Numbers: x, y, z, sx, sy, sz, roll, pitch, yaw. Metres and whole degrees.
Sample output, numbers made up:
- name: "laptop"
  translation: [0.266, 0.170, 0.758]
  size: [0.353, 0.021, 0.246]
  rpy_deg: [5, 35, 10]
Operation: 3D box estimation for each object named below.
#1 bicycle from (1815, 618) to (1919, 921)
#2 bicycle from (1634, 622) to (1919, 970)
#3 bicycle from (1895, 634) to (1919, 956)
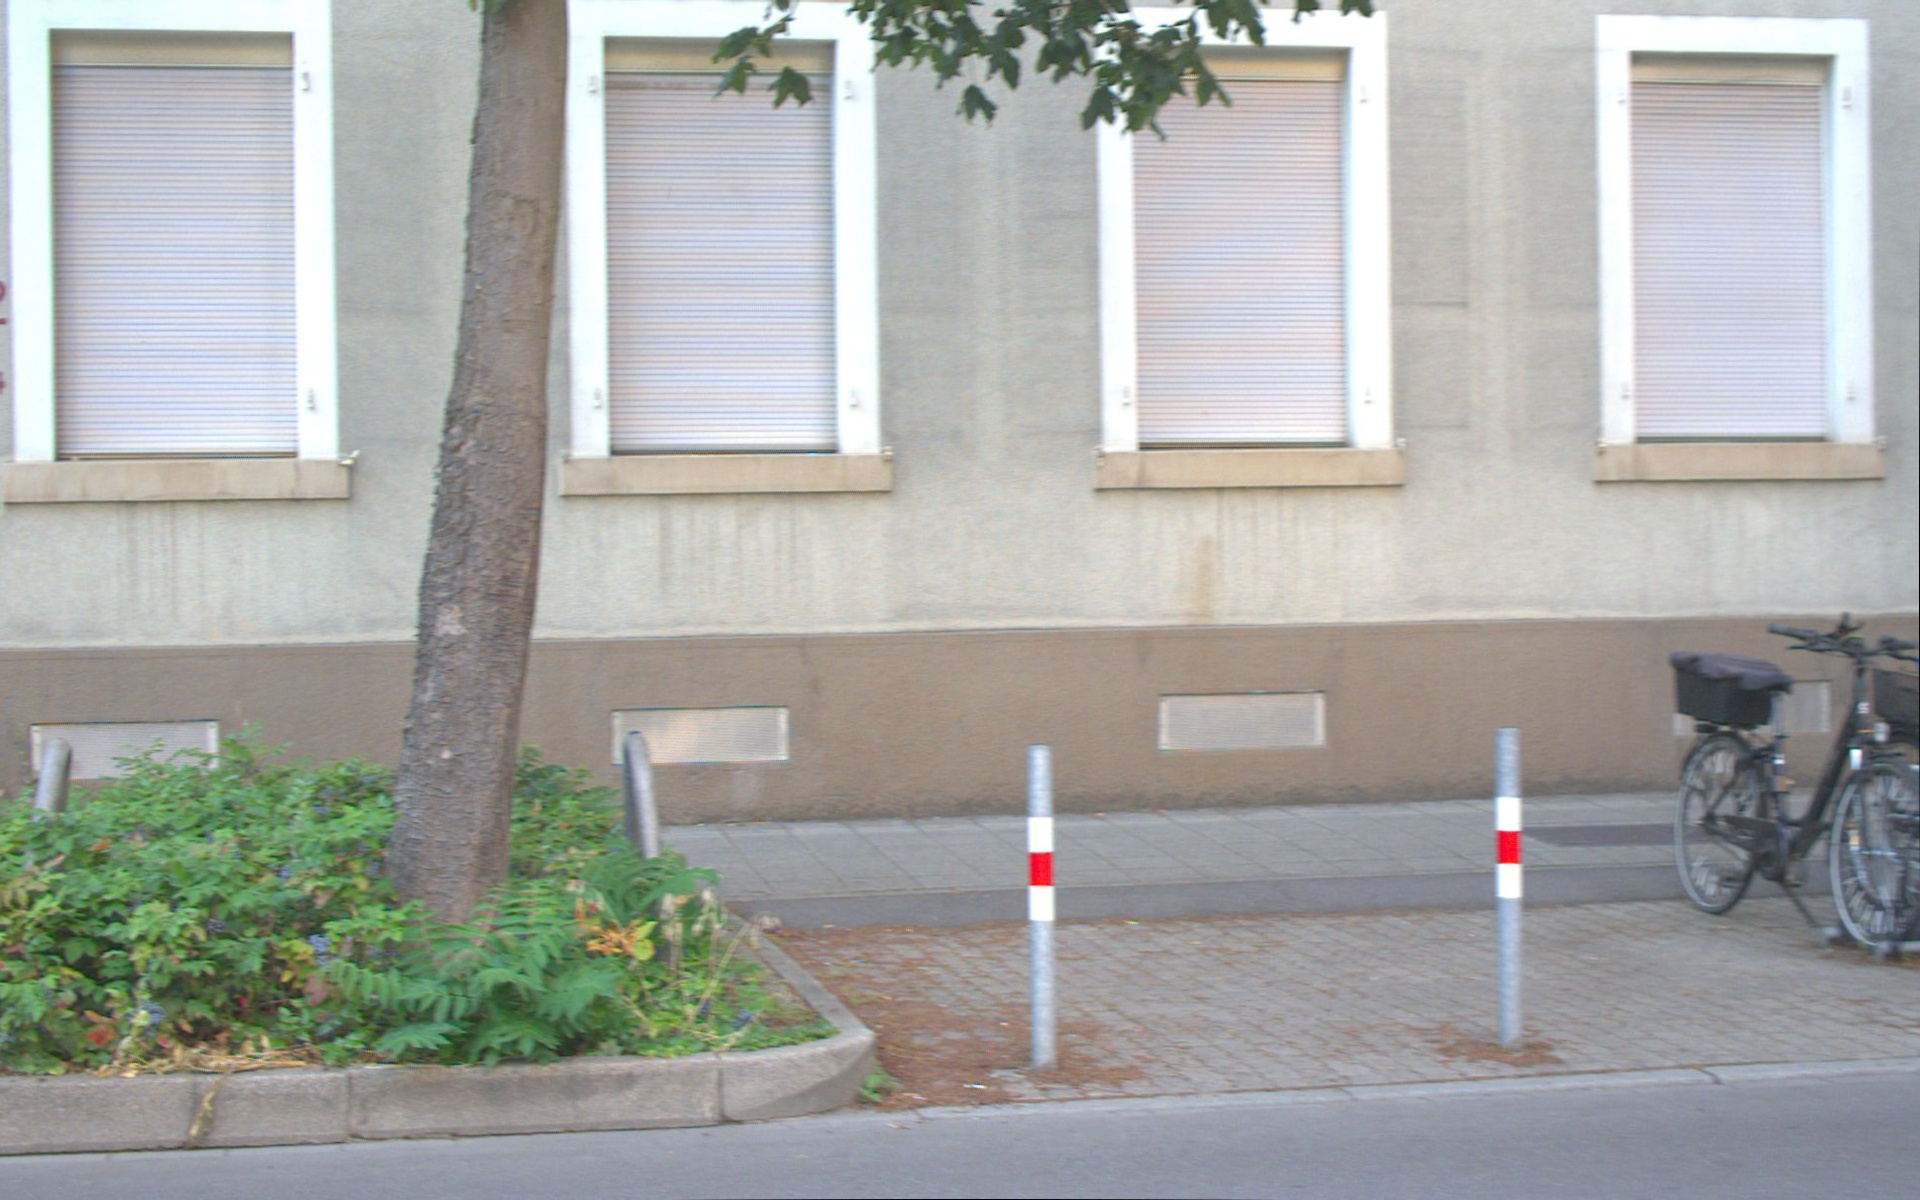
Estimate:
- name: "bicycle"
  translation: [3.927, 0.666, 13.157]
  size: [0.420, 1.141, 2.043]
  rpy_deg: [-1, 1, -11]
- name: "bicycle"
  translation: [3.070, 0.682, 12.856]
  size: [0.445, 1.141, 2.043]
  rpy_deg: [-1, 1, -7]
- name: "bicycle"
  translation: [3.774, 0.708, 11.438]
  size: [0.445, 1.141, 2.043]
  rpy_deg: [-1, 1, -10]
